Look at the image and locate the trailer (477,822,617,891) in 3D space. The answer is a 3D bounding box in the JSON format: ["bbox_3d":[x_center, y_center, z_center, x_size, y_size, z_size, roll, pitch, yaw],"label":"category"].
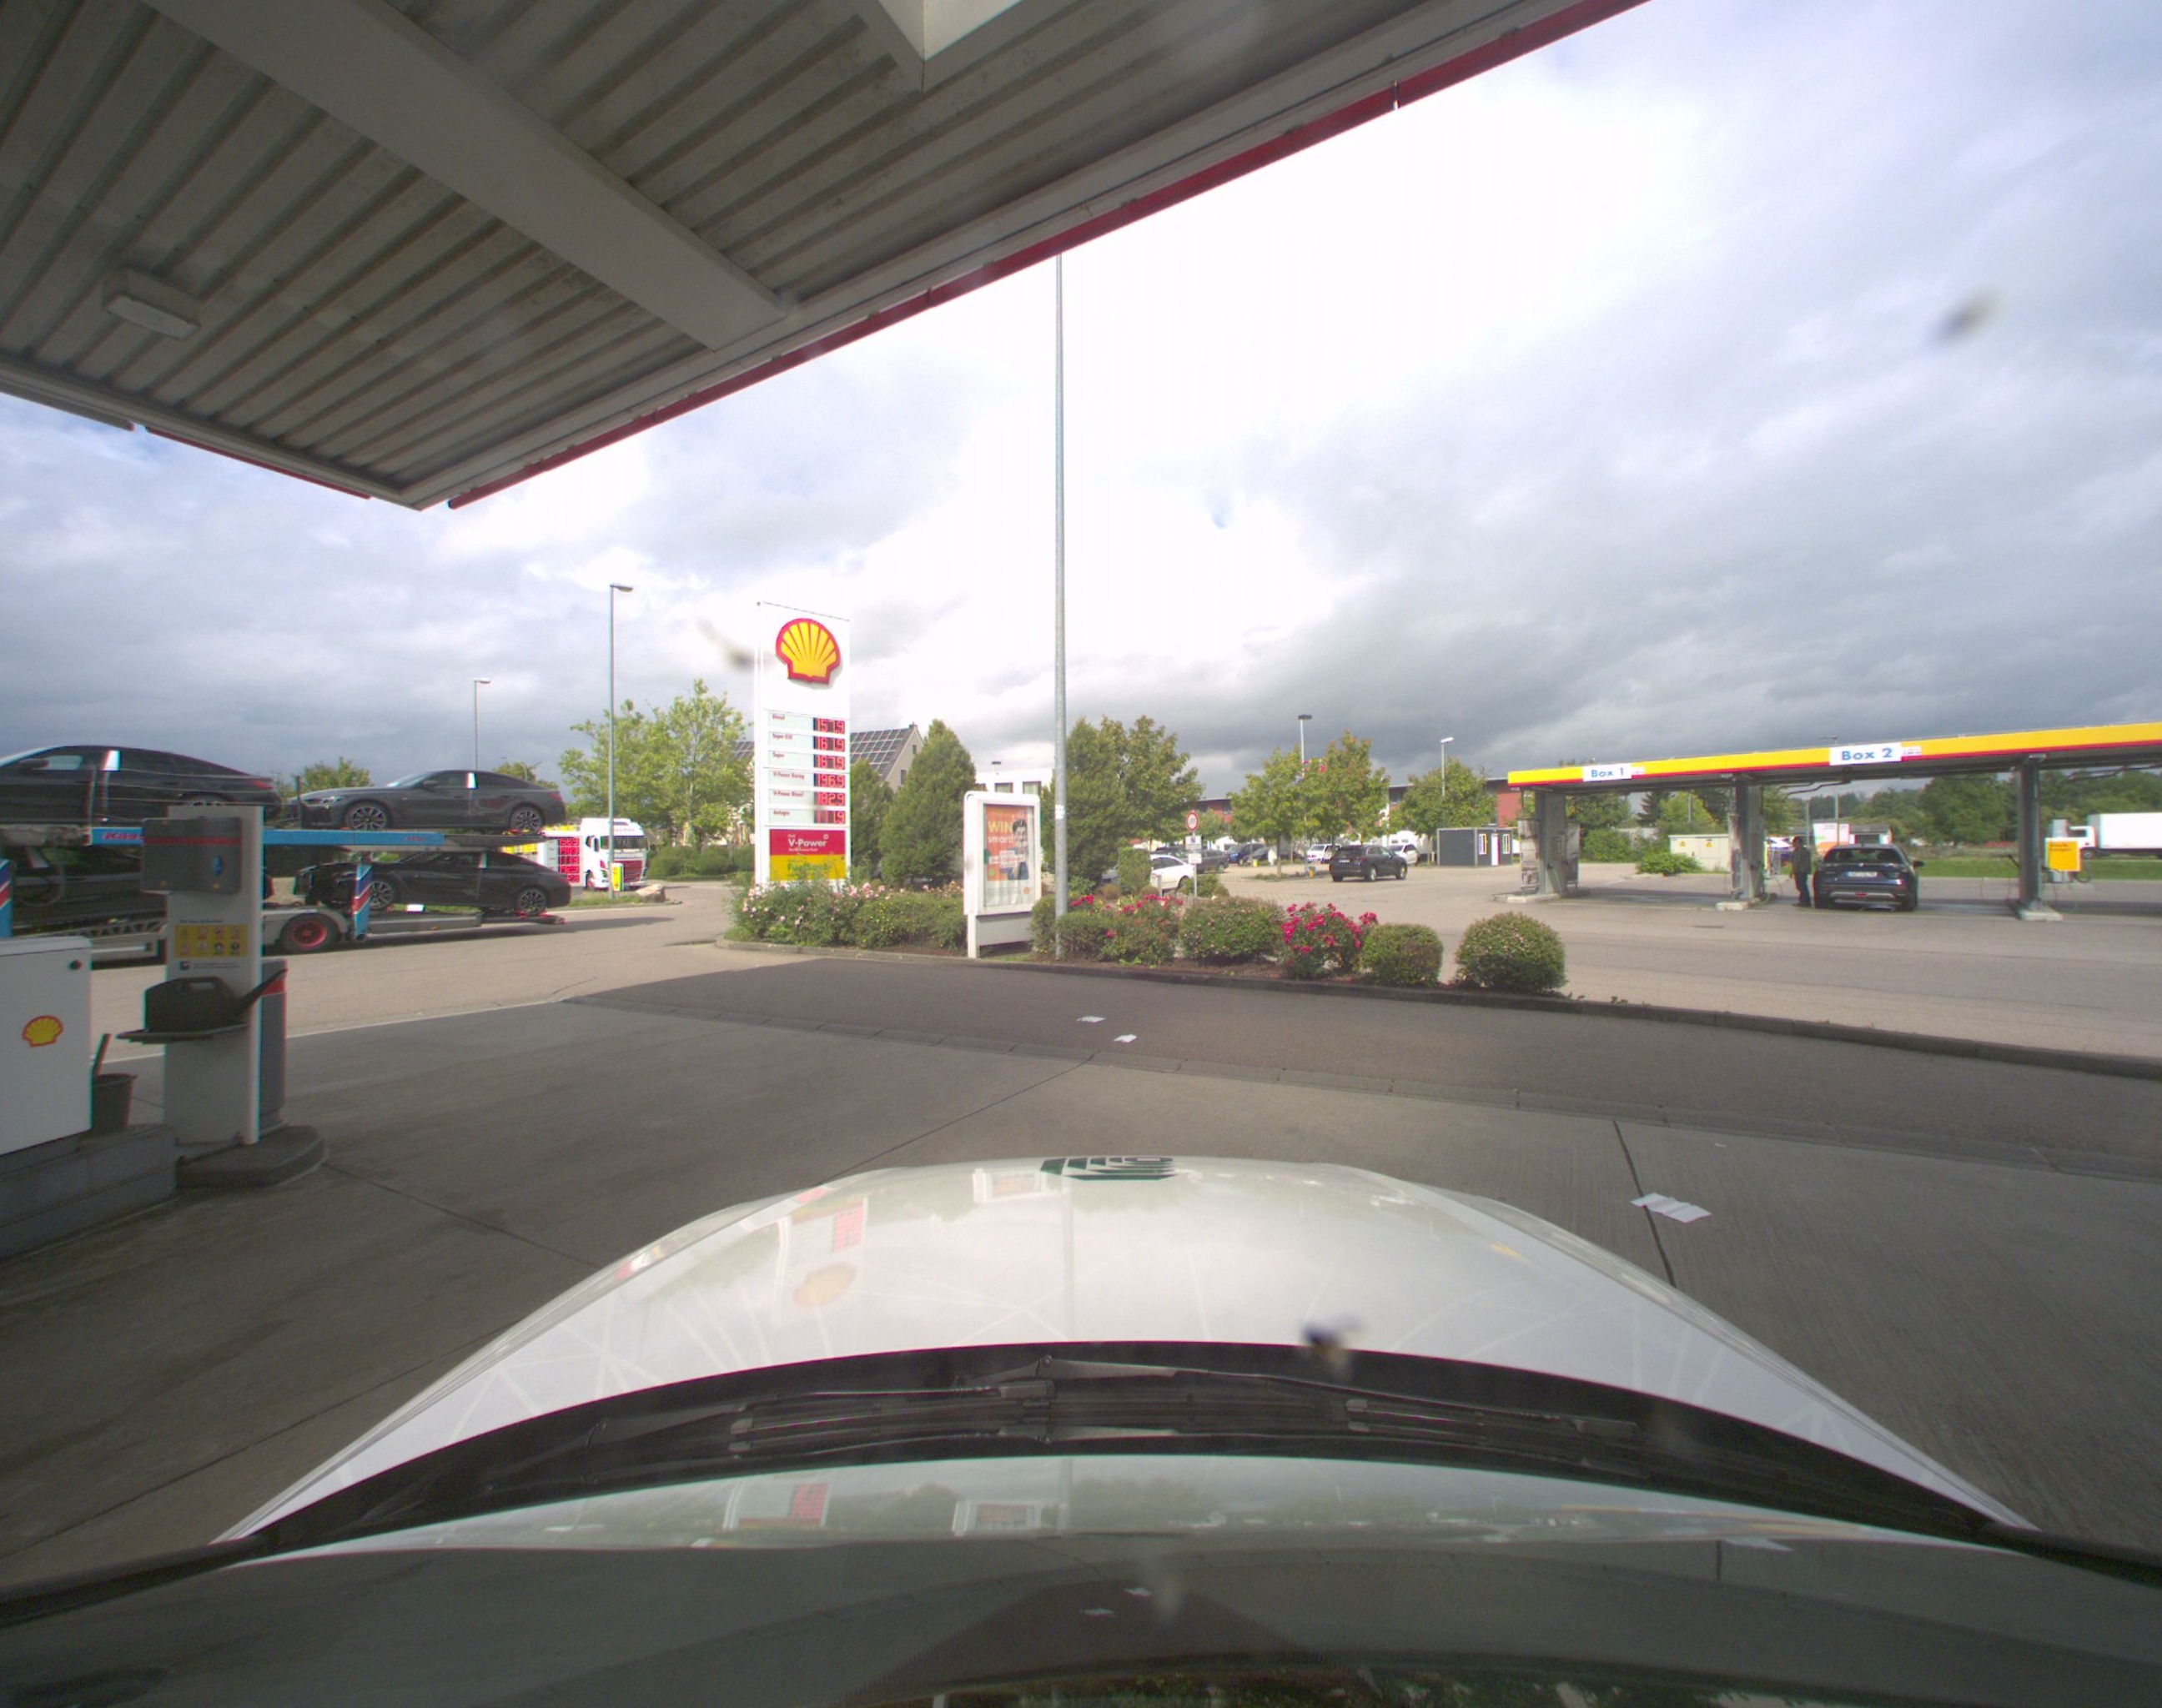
[{"bbox_3d":[-32.238,0.198,48.834,12.548,3.776,2.757,-1,-1,36],"label":"trailer"}]

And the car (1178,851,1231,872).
[{"bbox_3d":[7.536,0.443,49.703,3.245,1.228,1.488,0,-1,-42],"label":"car"}]

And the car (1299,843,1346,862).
[{"bbox_3d":[23.869,-0.127,80.267,4.903,1.833,2.159,0,-1,-41],"label":"car"}]

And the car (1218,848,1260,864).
[{"bbox_3d":[12.946,0.176,66.658,3.407,1.320,1.726,0,-1,-42],"label":"car"}]

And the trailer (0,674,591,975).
[{"bbox_3d":[-16.436,-0.419,13.681,2.711,4.423,14.450,-1,-1,31],"label":"trailer"}]

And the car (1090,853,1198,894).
[{"bbox_3d":[2.392,0.678,30.018,4.368,1.404,1.354,0,-1,-42],"label":"car"}]

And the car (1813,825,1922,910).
[{"bbox_3d":[19.436,0.314,20.073,3.828,1.897,1.703,0,-1,-43],"label":"car"}]

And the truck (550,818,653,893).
[{"bbox_3d":[-26.253,0.119,44.503,5.842,3.846,2.759,-1,-1,36],"label":"truck"}]

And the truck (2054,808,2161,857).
[{"bbox_3d":[78.227,-1.553,60.009,7.989,3.534,2.714,-1,-1,41],"label":"truck"}]

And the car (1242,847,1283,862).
[{"bbox_3d":[14.488,0.029,64.874,3.437,1.179,1.468,0,-1,-42],"label":"car"}]

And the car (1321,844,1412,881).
[{"bbox_3d":[12.873,0.371,36.578,4.527,1.548,1.864,0,-1,-41],"label":"car"}]

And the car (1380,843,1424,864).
[{"bbox_3d":[20.604,-0.050,52.214,3.120,1.307,1.352,0,-1,-42],"label":"car"}]

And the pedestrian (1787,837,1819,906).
[{"bbox_3d":[18.223,0.437,20.556,0.551,1.722,0.531,-1,-1,38],"label":"pedestrian"}]
